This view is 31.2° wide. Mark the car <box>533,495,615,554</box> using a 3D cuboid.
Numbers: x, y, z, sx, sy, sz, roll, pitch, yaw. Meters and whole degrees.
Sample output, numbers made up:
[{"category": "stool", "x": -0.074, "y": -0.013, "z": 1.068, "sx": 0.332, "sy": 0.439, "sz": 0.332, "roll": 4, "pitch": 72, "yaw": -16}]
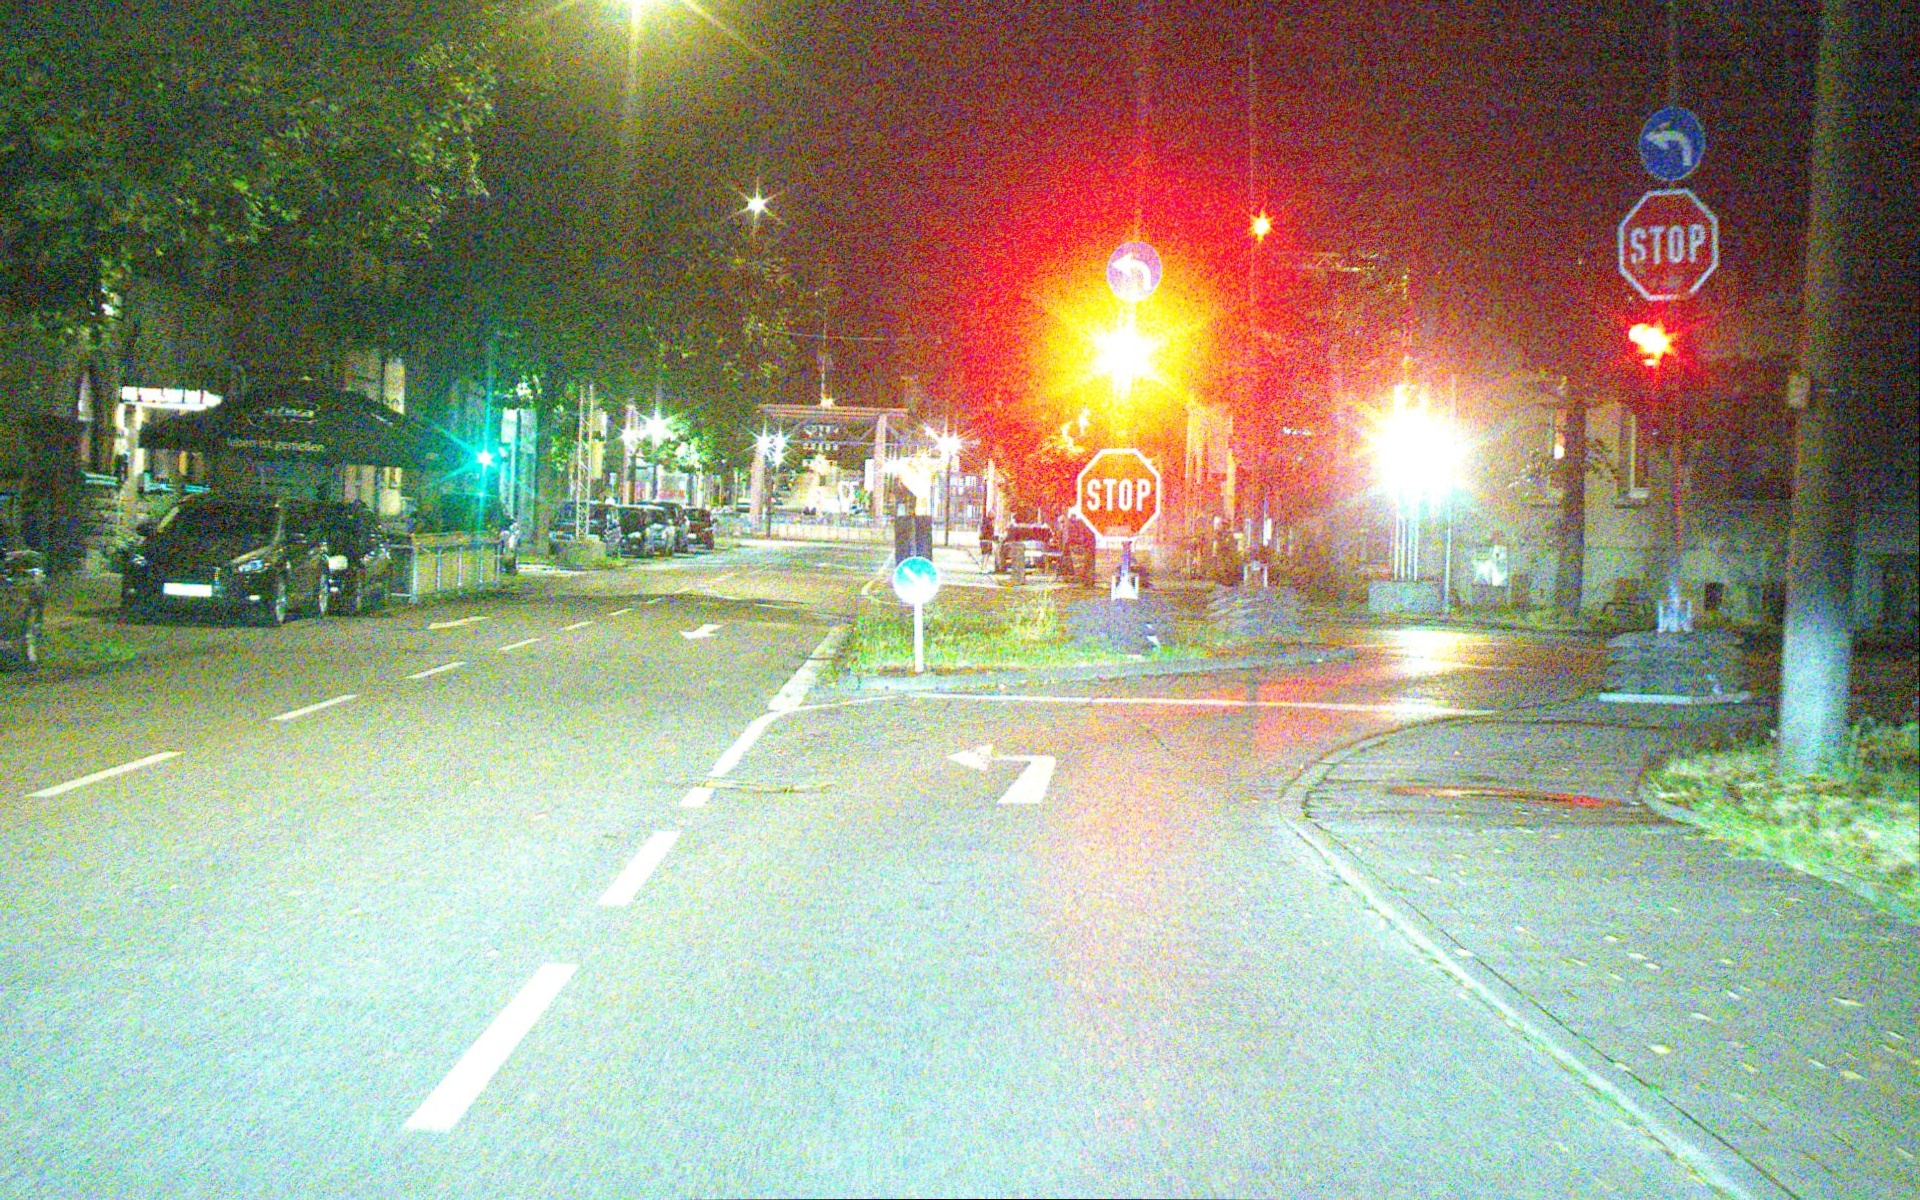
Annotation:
[{"category": "car", "x": -9.861, "y": -1.933, "z": 88.026, "sx": 1.651, "sy": 1.426, "sz": 4.000, "roll": 1, "pitch": 1, "yaw": -1}]

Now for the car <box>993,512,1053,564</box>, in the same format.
[{"category": "car", "x": 1.814, "y": -1.798, "z": 98.604, "sx": 1.651, "sy": 1.426, "sz": 4.000, "roll": 1, "pitch": 1, "yaw": 1}]

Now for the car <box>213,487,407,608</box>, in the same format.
[{"category": "car", "x": -8.551, "y": -0.707, "z": 45.522, "sx": 1.803, "sy": 1.476, "sz": 4.323, "roll": 2, "pitch": 1, "yaw": -1}]

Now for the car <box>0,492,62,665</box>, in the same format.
[{"category": "car", "x": -8.440, "y": -0.188, "z": 27.370, "sx": 1.622, "sy": 1.378, "sz": 4.453, "roll": 1, "pitch": 1, "yaw": -3}]

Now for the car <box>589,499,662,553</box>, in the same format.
[{"category": "car", "x": -9.346, "y": -2.081, "z": 96.199, "sx": 1.651, "sy": 1.426, "sz": 4.000, "roll": 1, "pitch": 1, "yaw": -1}]

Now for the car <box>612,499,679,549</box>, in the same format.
[{"category": "car", "x": -9.325, "y": -2.273, "z": 102.208, "sx": 1.651, "sy": 1.426, "sz": 4.000, "roll": 1, "pitch": 1, "yaw": -1}]

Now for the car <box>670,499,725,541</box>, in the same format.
[{"category": "car", "x": -9.361, "y": -2.861, "z": 122.826, "sx": 1.651, "sy": 1.426, "sz": 4.000, "roll": 1, "pitch": 1, "yaw": -1}]

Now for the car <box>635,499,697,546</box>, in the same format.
[{"category": "car", "x": -9.315, "y": -2.468, "z": 109.093, "sx": 1.651, "sy": 1.426, "sz": 4.000, "roll": 1, "pitch": 1, "yaw": -1}]

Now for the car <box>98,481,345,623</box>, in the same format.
[{"category": "car", "x": -8.622, "y": -0.605, "z": 40.527, "sx": 1.899, "sy": 1.466, "sz": 4.452, "roll": 4, "pitch": 2, "yaw": 0}]
